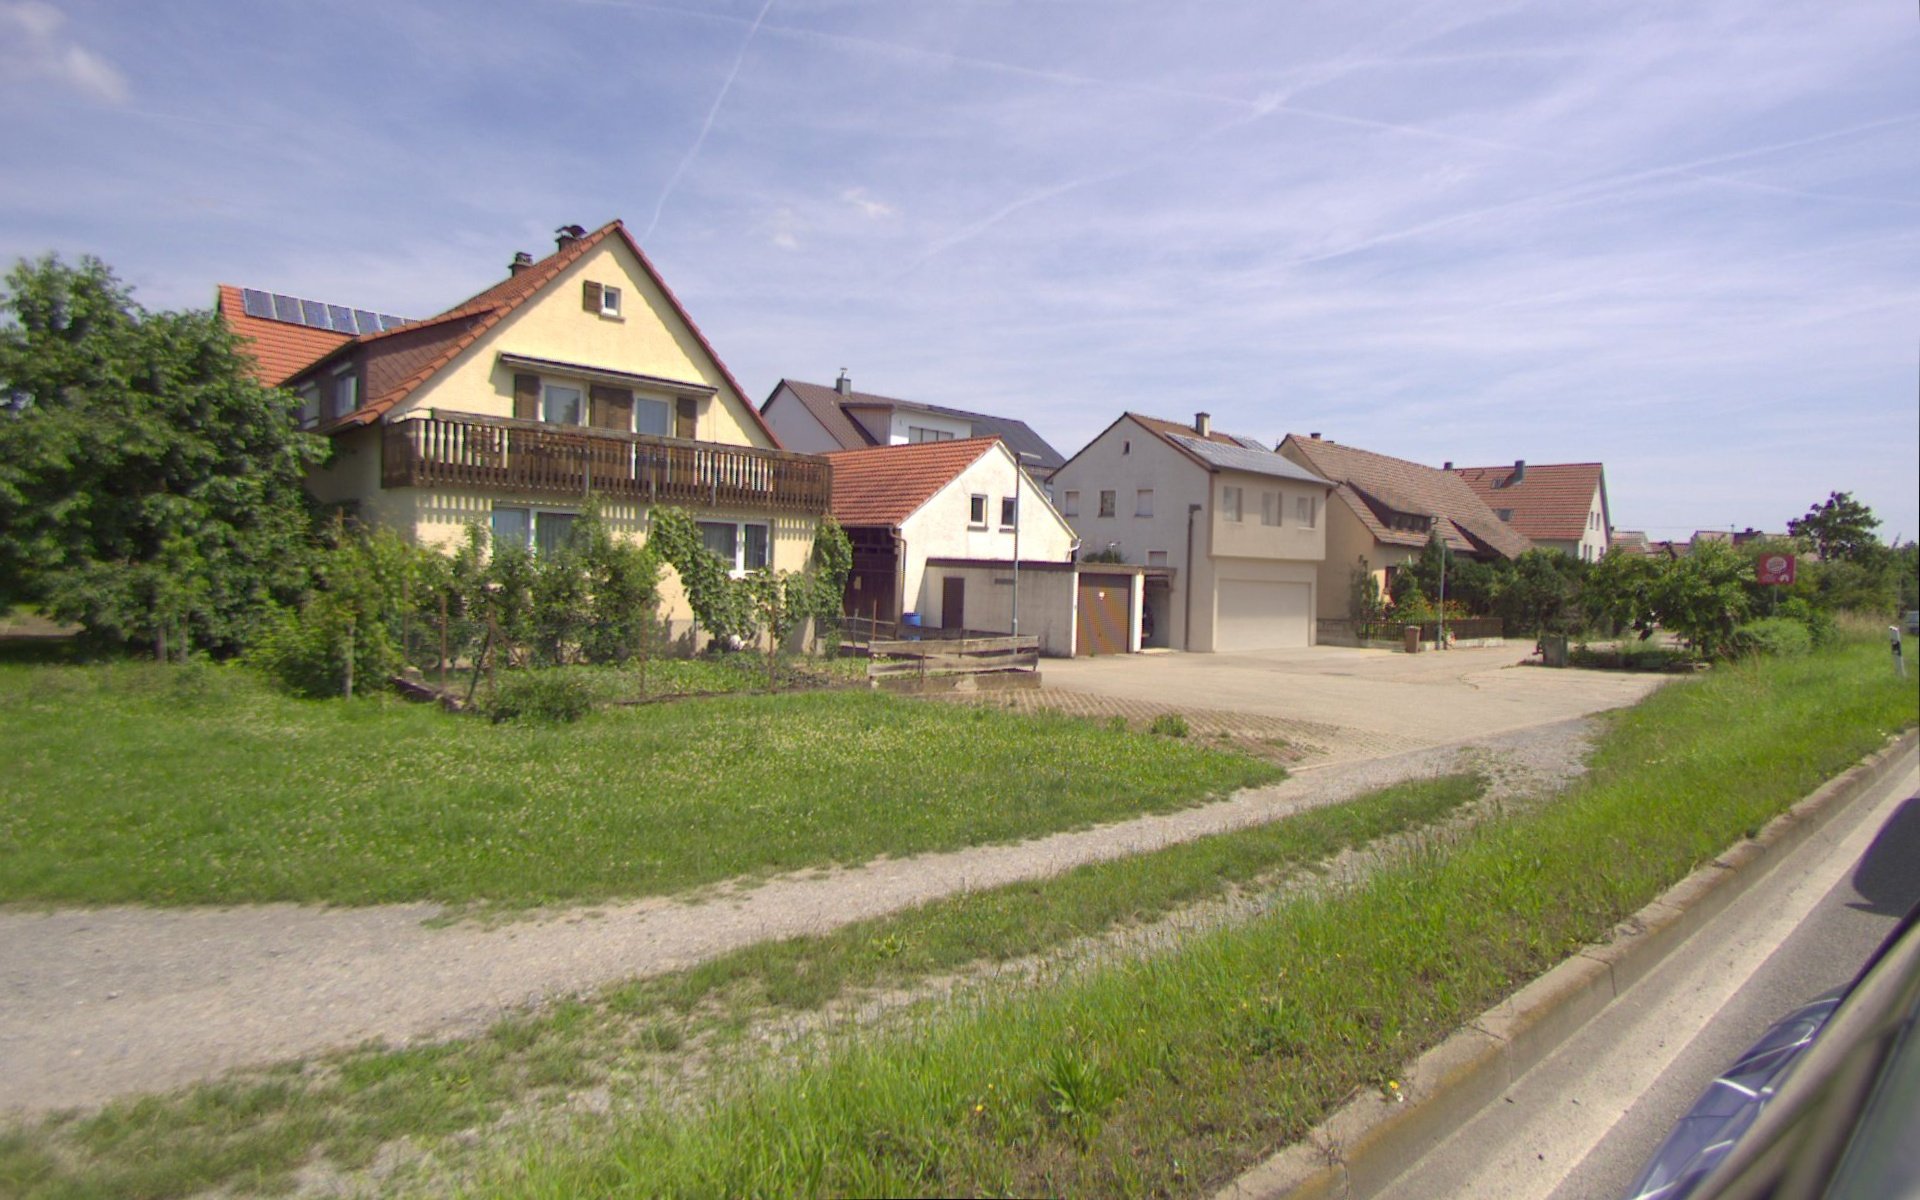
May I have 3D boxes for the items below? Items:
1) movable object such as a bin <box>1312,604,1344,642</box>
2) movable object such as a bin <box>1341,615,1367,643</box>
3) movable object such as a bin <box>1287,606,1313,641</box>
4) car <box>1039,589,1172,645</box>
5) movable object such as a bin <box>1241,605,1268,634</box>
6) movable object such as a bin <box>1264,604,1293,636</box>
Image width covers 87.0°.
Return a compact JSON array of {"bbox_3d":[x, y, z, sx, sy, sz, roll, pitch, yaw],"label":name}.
[{"bbox_3d":[13.916,0.858,38.270,0.930,1.387,0.764,1,0,-42],"label":"movable object such as a bin"},{"bbox_3d":[14.633,1.071,37.568,0.743,1.040,0.645,1,0,-42],"label":"movable object such as a bin"},{"bbox_3d":[13.261,0.917,39.483,0.806,1.355,0.677,1,0,-42],"label":"movable object such as a bin"},{"bbox_3d":[4.554,0.495,32.138,1.794,1.624,3.995,1,1,-40],"label":"car"},{"bbox_3d":[11.852,0.779,40.699,0.816,1.171,0.739,1,0,-42],"label":"movable object such as a bin"},{"bbox_3d":[12.645,0.788,40.162,0.874,1.262,0.744,1,0,-42],"label":"movable object such as a bin"}]
